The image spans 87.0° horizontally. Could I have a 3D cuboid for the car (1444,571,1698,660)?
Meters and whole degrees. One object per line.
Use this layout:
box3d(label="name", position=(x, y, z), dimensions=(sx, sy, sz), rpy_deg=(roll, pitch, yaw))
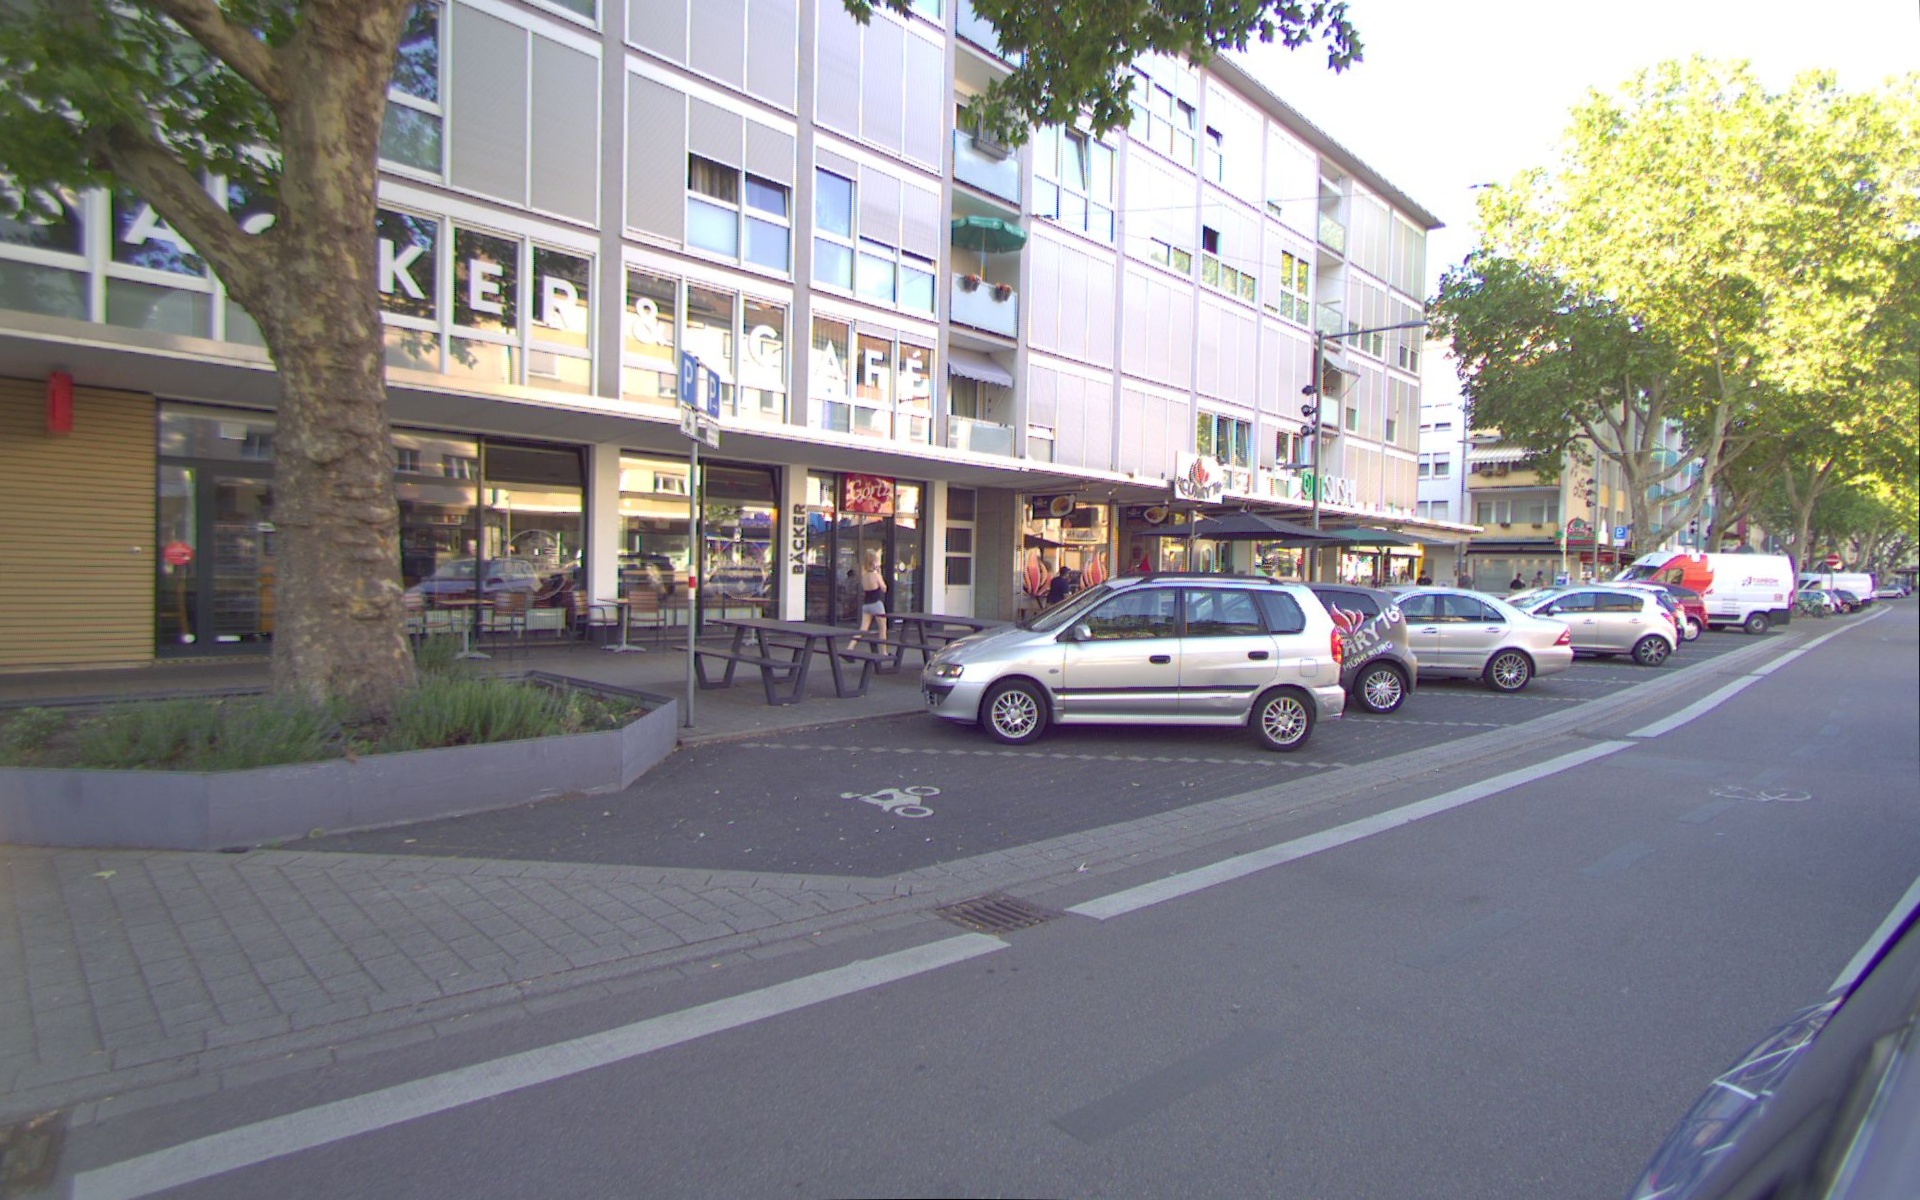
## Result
box3d(label="car", position=(11.840, 0.259, 19.802), dimensions=(3.871, 1.446, 1.559), rpy_deg=(3, 3, 4))

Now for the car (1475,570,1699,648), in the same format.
box3d(label="car", position=(13.977, 0.146, 22.805), dimensions=(3.886, 1.446, 1.670), rpy_deg=(3, 3, 16))

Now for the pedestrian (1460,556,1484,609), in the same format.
box3d(label="pedestrian", position=(19.773, -0.690, 39.099), dimensions=(0.740, 2.038, 0.554), rpy_deg=(2, 2, 26))

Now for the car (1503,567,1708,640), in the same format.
box3d(label="car", position=(15.986, 0.039, 25.294), dimensions=(3.888, 1.445, 1.669), rpy_deg=(4, 5, 17))

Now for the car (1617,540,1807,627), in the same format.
box3d(label="car", position=(23.731, -0.524, 32.065), dimensions=(4.514, 2.525, 1.675), rpy_deg=(2, 1, 5))

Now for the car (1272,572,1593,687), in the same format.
box3d(label="car", position=(6.785, 0.387, 14.826), dimensions=(3.867, 1.418, 1.598), rpy_deg=(2, 3, 1))

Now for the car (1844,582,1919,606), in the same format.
box3d(label="car", position=(56.269, -0.375, 61.212), dimensions=(3.864, 1.350, 1.782), rpy_deg=(1, 2, 3))

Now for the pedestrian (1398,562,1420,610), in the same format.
box3d(label="pedestrian", position=(15.530, -0.487, 35.034), dimensions=(0.536, 1.660, 0.470), rpy_deg=(2, 2, 45))

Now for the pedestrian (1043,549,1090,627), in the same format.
box3d(label="pedestrian", position=(2.248, -0.258, 21.364), dimensions=(0.757, 1.602, 0.583), rpy_deg=(0, 2, -39))

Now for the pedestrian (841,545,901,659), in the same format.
box3d(label="pedestrian", position=(-1.283, 0.019, 14.568), dimensions=(0.559, 1.596, 0.632), rpy_deg=(2, 2, 44))

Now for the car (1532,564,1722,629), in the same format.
box3d(label="car", position=(18.046, -0.138, 27.594), dimensions=(3.888, 1.445, 1.669), rpy_deg=(4, 5, 17))

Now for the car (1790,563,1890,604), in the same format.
box3d(label="car", position=(56.594, -1.082, 65.156), dimensions=(4.512, 2.499, 1.977), rpy_deg=(1, 2, 3))

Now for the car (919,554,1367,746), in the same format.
box3d(label="car", position=(1.599, 0.417, 9.791), dimensions=(3.906, 1.560, 1.679), rpy_deg=(2, 3, -3))

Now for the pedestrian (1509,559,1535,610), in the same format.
box3d(label="pedestrian", position=(22.310, -0.611, 40.193), dimensions=(0.746, 2.000, 0.566), rpy_deg=(2, 2, 45))

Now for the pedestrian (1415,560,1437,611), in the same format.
box3d(label="pedestrian", position=(15.976, -0.497, 34.680), dimensions=(0.544, 1.741, 0.450), rpy_deg=(2, 2, 45))

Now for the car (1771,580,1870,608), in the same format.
box3d(label="car", position=(48.098, -0.358, 56.640), dimensions=(3.864, 1.422, 1.782), rpy_deg=(1, 2, 3))

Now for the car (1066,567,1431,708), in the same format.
box3d(label="car", position=(3.366, 0.405, 12.307), dimensions=(3.864, 1.446, 1.679), rpy_deg=(2, 3, -3))

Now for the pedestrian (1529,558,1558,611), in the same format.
box3d(label="pedestrian", position=(22.788, -0.595, 39.530), dimensions=(0.746, 2.038, 0.752), rpy_deg=(2, 2, 45))
